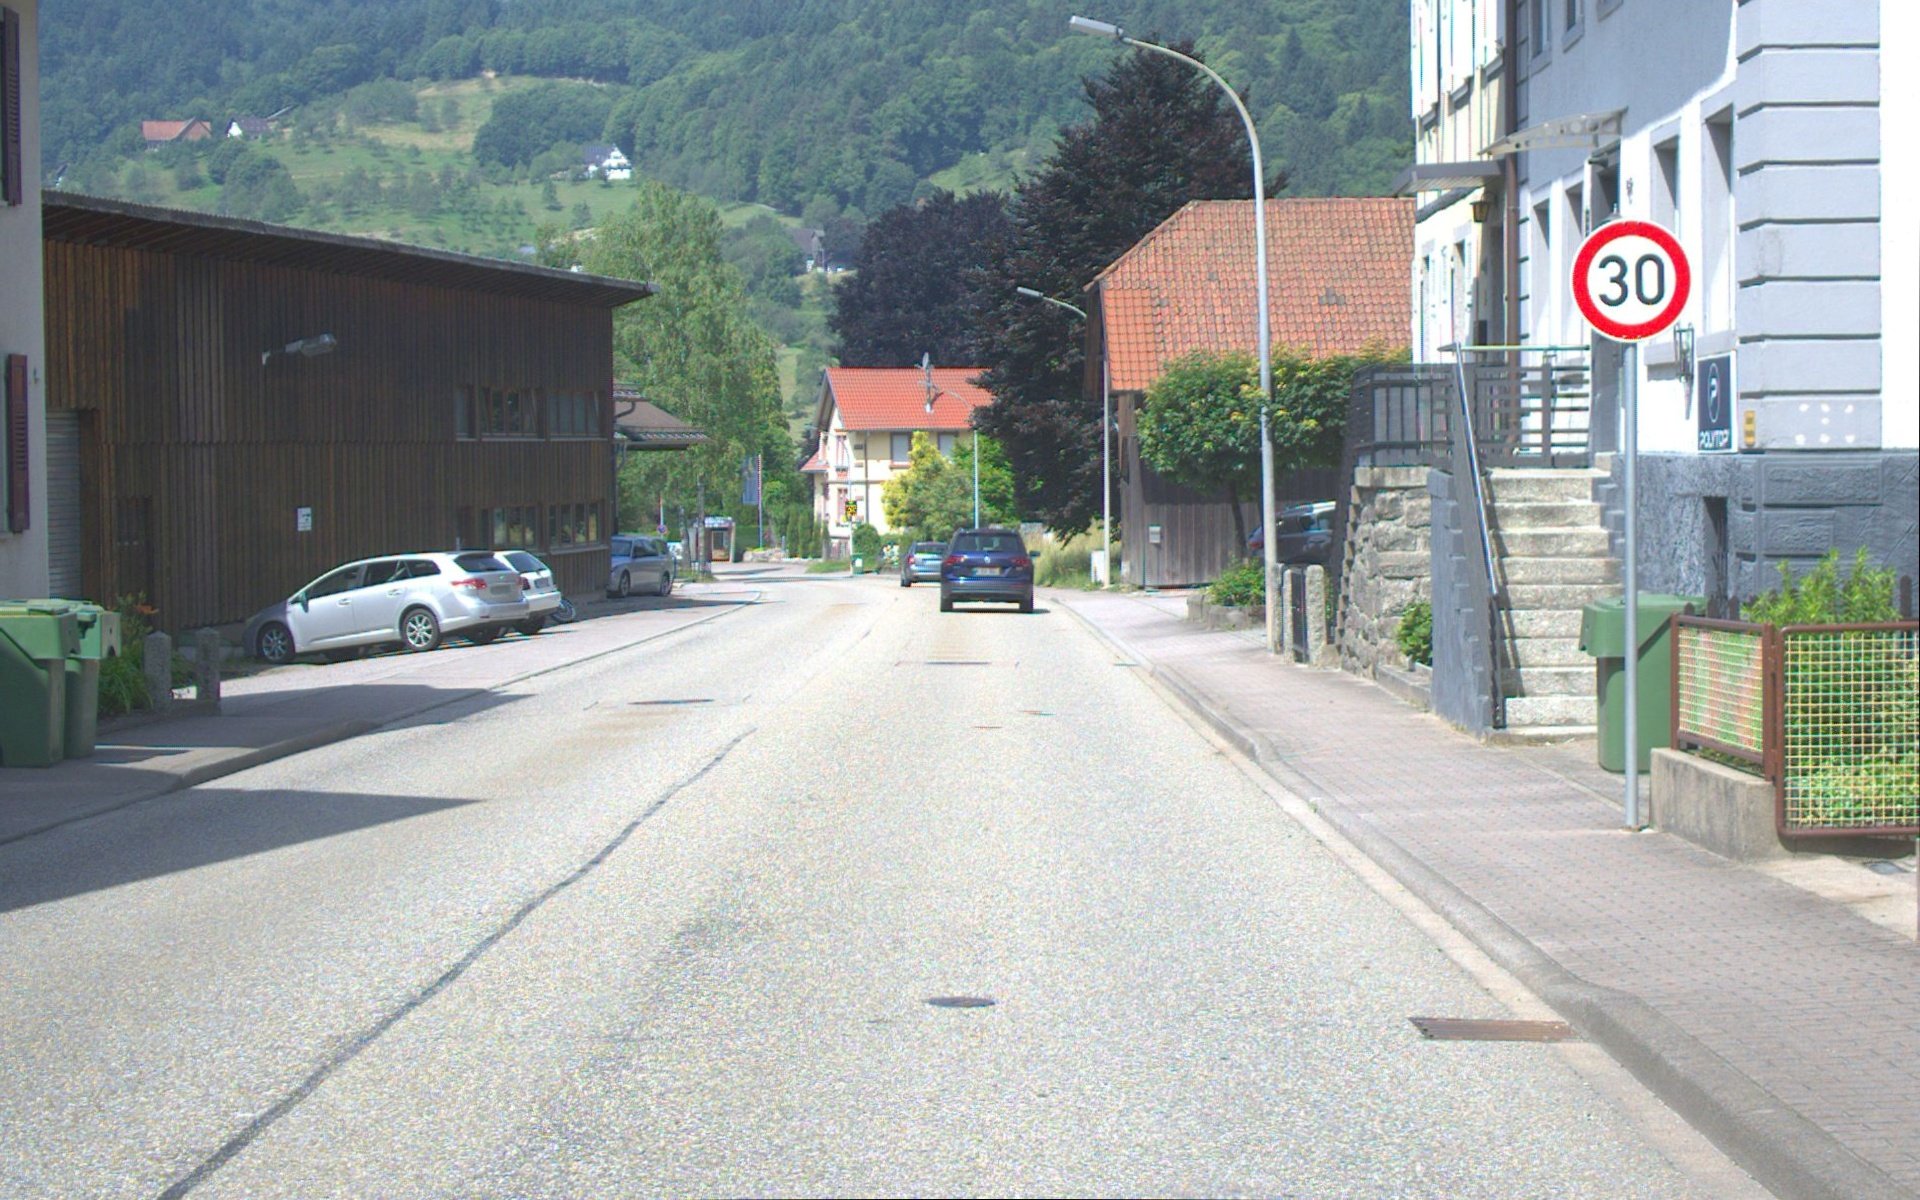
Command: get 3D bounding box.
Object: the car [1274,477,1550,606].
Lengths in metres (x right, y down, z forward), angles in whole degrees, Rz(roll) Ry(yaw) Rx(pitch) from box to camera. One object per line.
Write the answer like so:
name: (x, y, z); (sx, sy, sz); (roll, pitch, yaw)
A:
car: (7.318, -0.947, 55.950); (4.221, 1.681, 1.776); (-5, 1, 4)

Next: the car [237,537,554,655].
car: (-8.700, -0.061, 52.945); (4.435, 1.469, 1.922); (-4, 1, 26)

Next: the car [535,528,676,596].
car: (-8.200, -0.915, 79.961); (1.730, 1.449, 4.802); (0, 2, 14)

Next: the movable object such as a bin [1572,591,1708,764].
movable object such as a bin: (4.124, 0.464, 20.881); (0.704, 1.017, 0.618); (-1, 1, 2)

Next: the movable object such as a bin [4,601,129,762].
movable object such as a bin: (-6.077, 0.548, 23.405); (0.676, 1.063, 0.621); (-1, 1, -1)

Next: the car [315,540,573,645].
car: (-8.364, -0.124, 55.790); (3.661, 1.381, 1.710); (-5, 0, 16)

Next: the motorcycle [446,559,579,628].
motorcycle: (-8.637, -0.127, 66.340); (2.410, 1.260, 0.743); (-1, 1, 10)

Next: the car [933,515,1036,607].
car: (0.473, -0.772, 67.162); (1.919, 1.692, 3.788); (-1, 1, 0)

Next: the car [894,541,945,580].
car: (-1.327, -1.285, 112.039); (1.476, 1.205, 2.384); (-2, 1, -4)

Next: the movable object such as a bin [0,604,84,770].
movable object such as a bin: (-6.201, 0.567, 22.657); (0.676, 1.063, 0.653); (-1, 1, -1)
